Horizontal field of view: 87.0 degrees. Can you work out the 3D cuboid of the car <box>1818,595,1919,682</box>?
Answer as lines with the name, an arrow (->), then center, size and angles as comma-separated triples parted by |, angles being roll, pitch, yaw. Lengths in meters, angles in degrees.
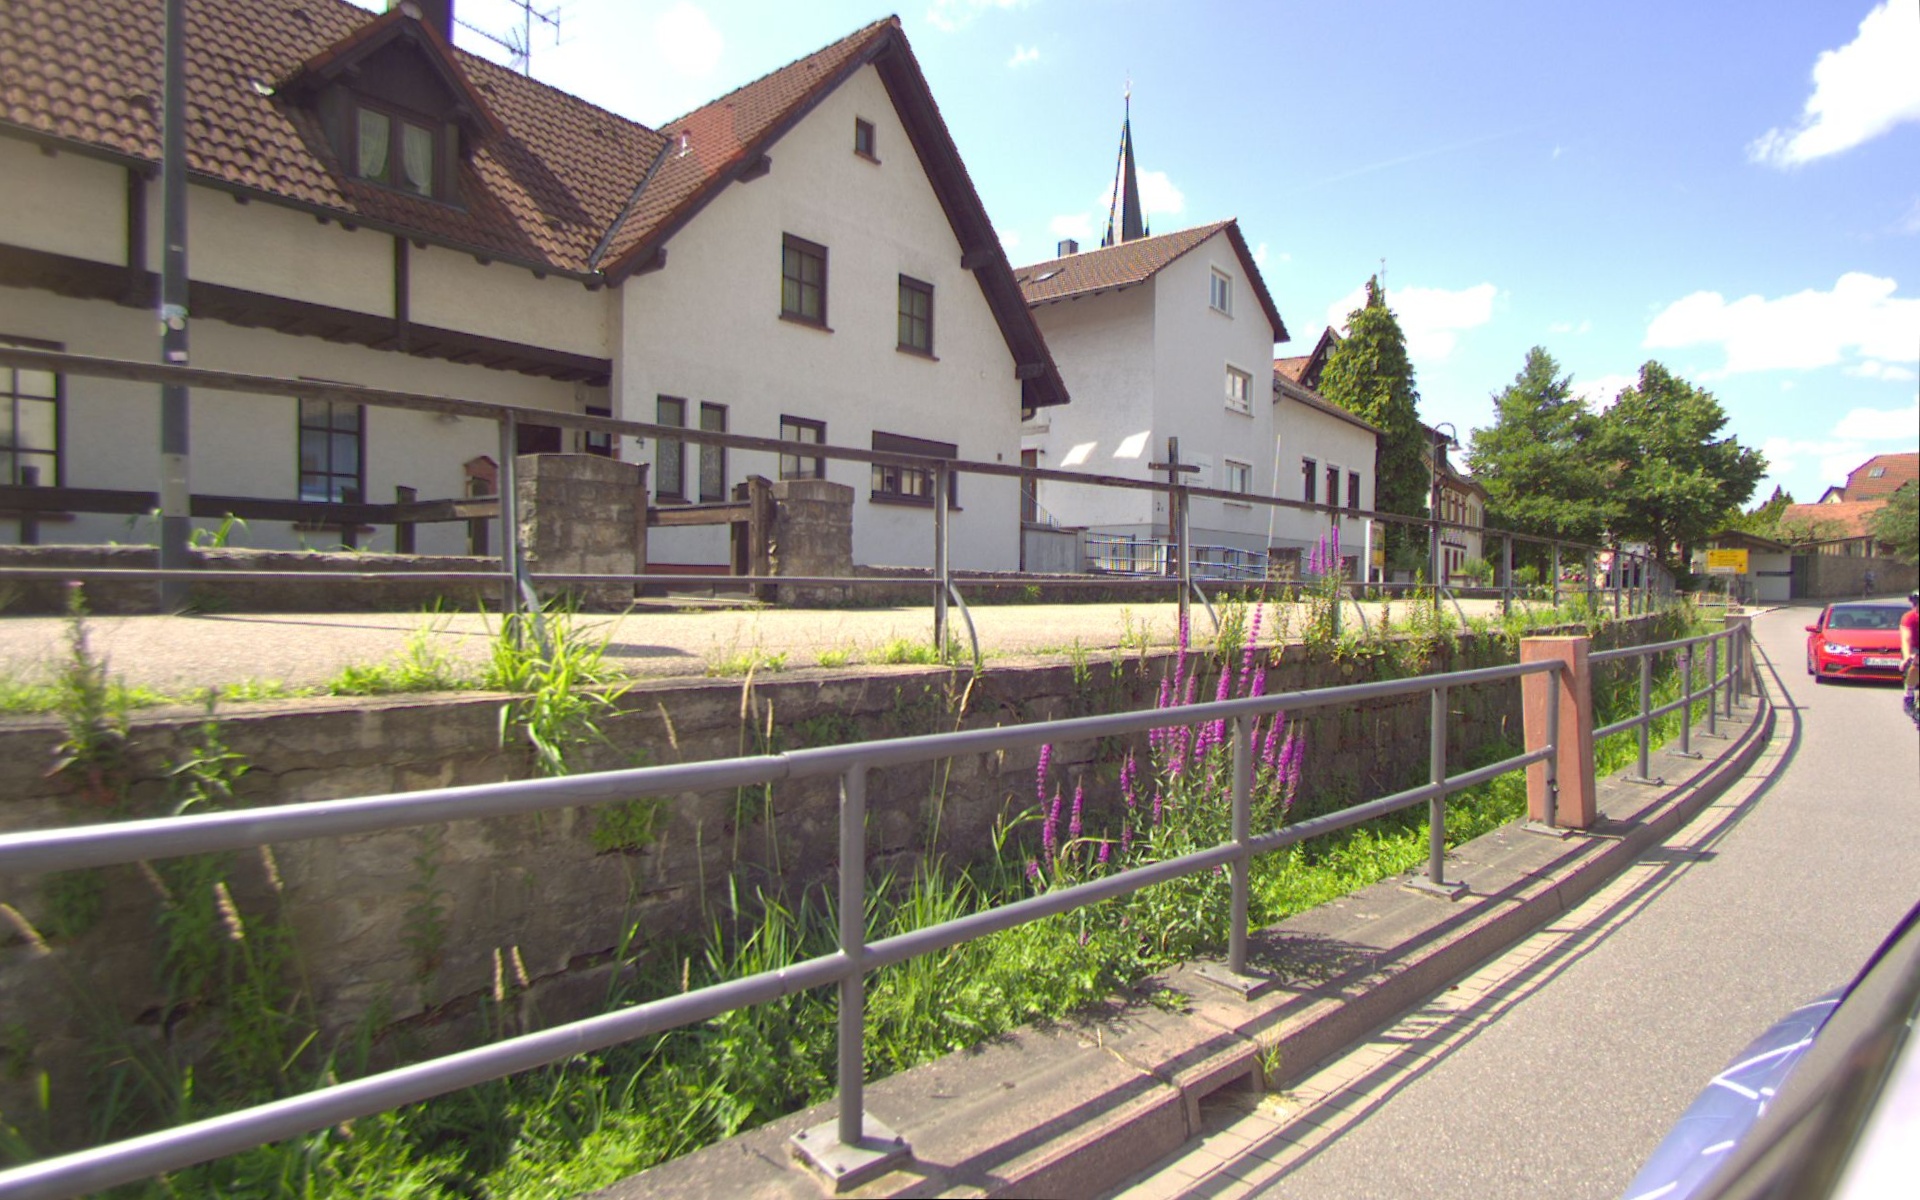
car -> 16.107, 0.611, 17.624 | 1.662, 1.369, 3.445 | 0, 0, 39

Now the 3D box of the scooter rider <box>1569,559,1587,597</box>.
scooter rider -> 28.671, -1.000, 46.955 | 0.640, 1.753, 0.546 | 0, 1, 39

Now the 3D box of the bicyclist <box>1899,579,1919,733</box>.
bicyclist -> 9.272, 0.524, 9.567 | 0.743, 1.422, 0.531 | 1, 0, -45

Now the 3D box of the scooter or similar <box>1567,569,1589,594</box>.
scooter or similar -> 28.742, -0.858, 47.068 | 0.640, 1.156, 1.786 | 2, 2, 38

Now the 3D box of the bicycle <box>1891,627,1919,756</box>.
bicycle -> 9.215, 0.830, 9.551 | 2.020, 1.090, 0.530 | 0, 1, -45
